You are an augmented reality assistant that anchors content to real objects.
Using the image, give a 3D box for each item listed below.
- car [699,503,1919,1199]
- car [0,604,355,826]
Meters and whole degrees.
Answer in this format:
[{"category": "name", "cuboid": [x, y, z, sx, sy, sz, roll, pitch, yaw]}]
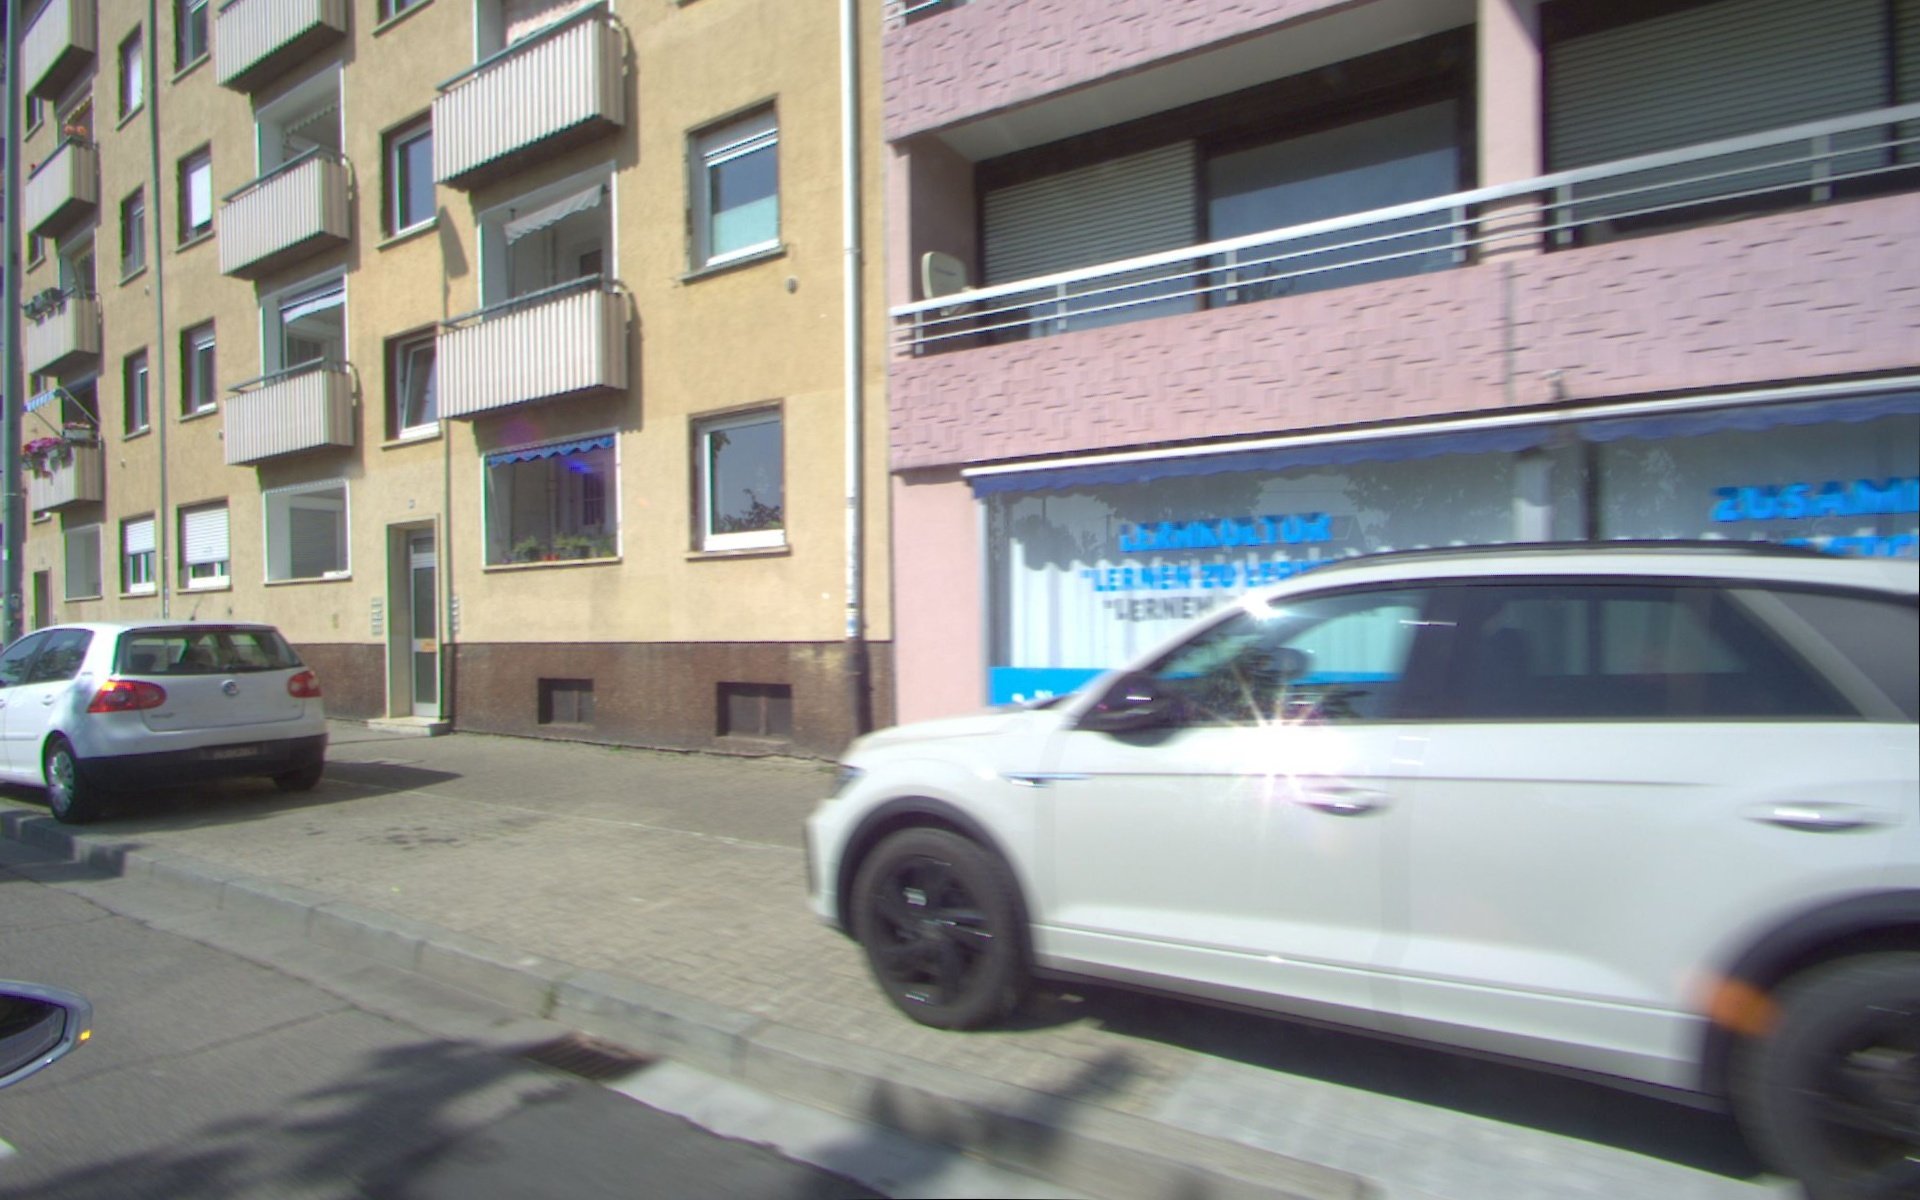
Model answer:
[{"category": "car", "cuboid": [1.257, 0.621, 3.463, 4.292, 1.561, 1.733, -1, -1, 32]}, {"category": "car", "cuboid": [-7.239, 0.830, 8.716, 4.069, 1.525, 1.753, -1, -1, 32]}]
